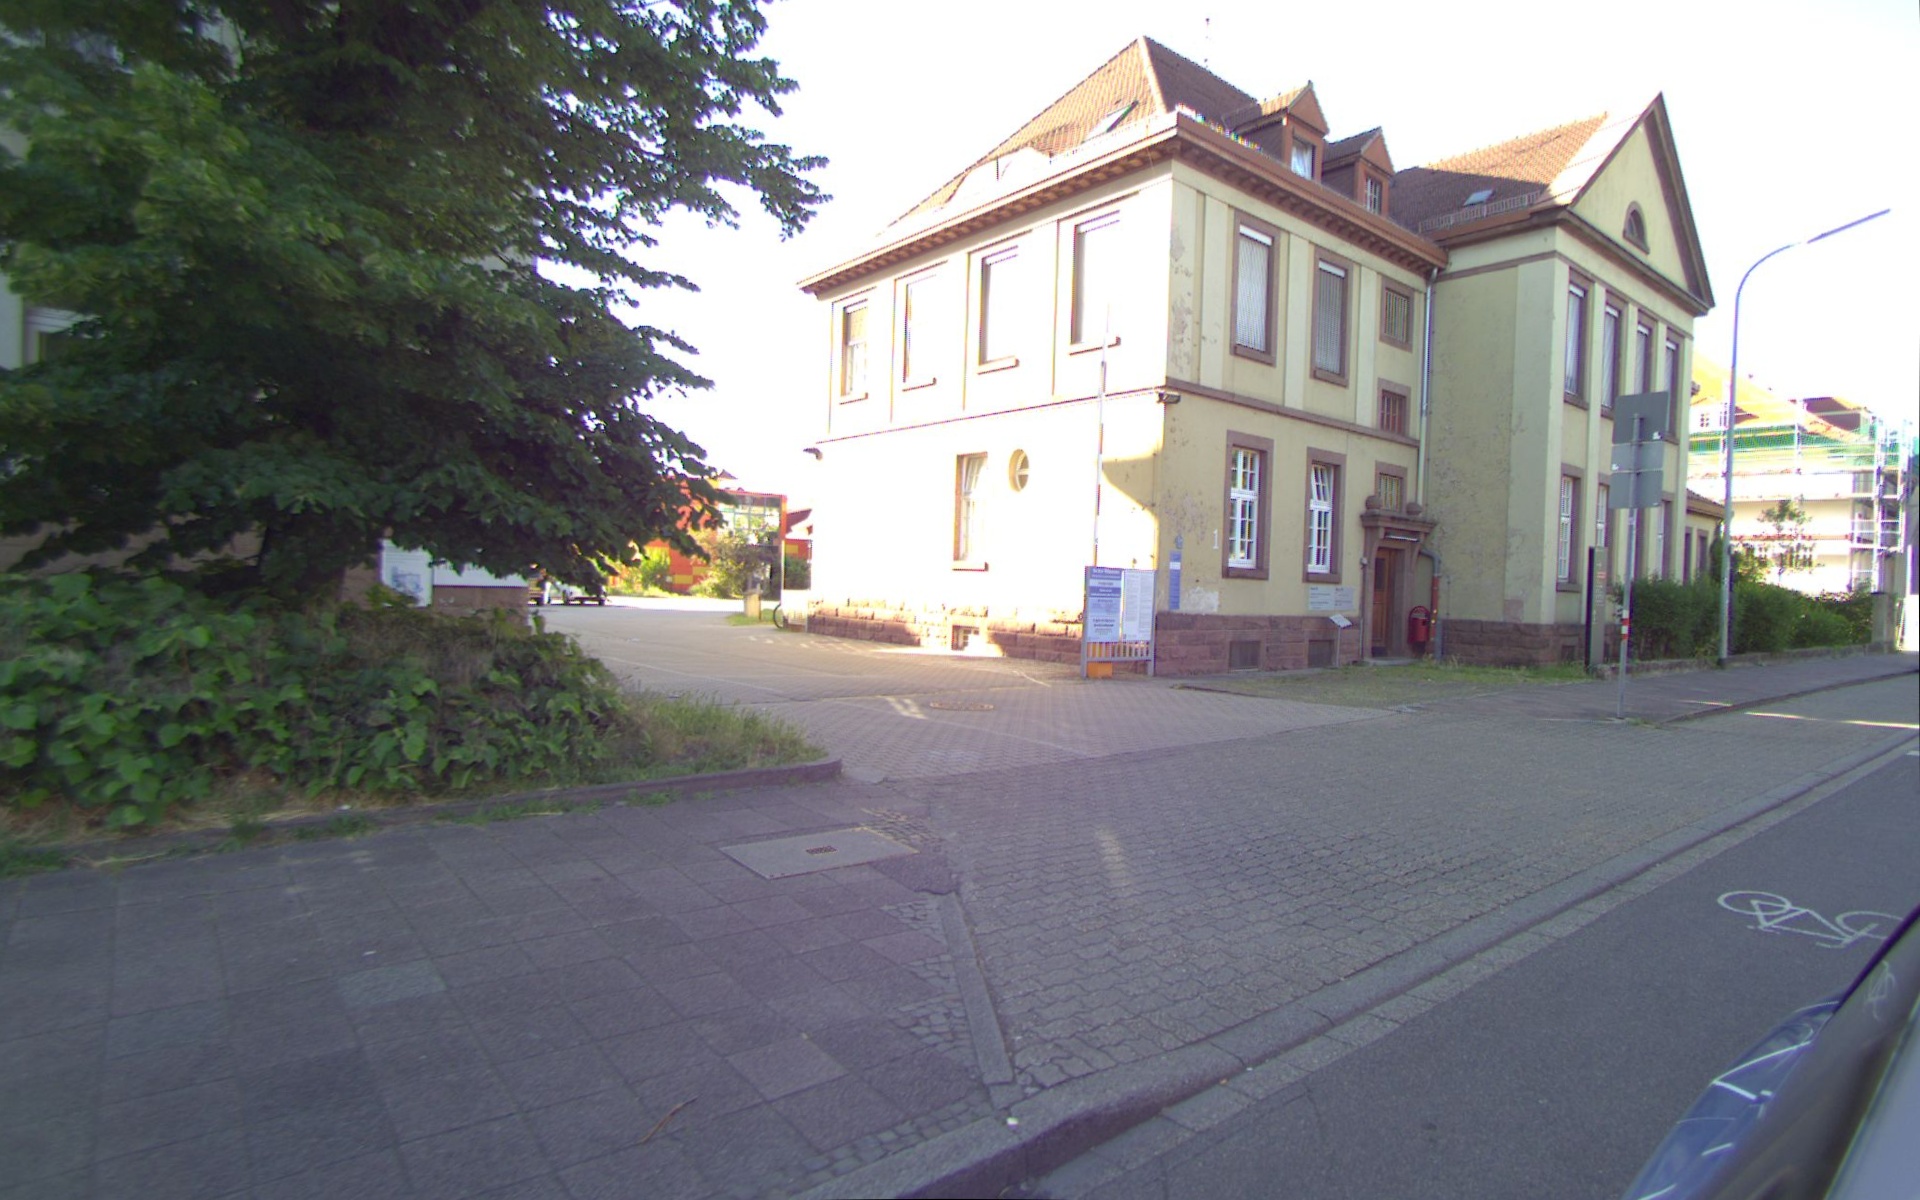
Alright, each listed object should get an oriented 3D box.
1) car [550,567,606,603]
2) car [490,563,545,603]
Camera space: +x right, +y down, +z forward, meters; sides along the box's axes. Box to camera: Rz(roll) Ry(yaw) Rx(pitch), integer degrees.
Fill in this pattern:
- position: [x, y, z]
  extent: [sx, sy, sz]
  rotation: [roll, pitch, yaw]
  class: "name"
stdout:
- position: [-16.550, -0.663, 43.761]
  extent: [1.752, 1.418, 3.452]
  rotation: [1, 1, -29]
  class: "car"
- position: [-18.360, -0.725, 41.926]
  extent: [1.752, 1.576, 3.452]
  rotation: [1, 1, -29]
  class: "car"
